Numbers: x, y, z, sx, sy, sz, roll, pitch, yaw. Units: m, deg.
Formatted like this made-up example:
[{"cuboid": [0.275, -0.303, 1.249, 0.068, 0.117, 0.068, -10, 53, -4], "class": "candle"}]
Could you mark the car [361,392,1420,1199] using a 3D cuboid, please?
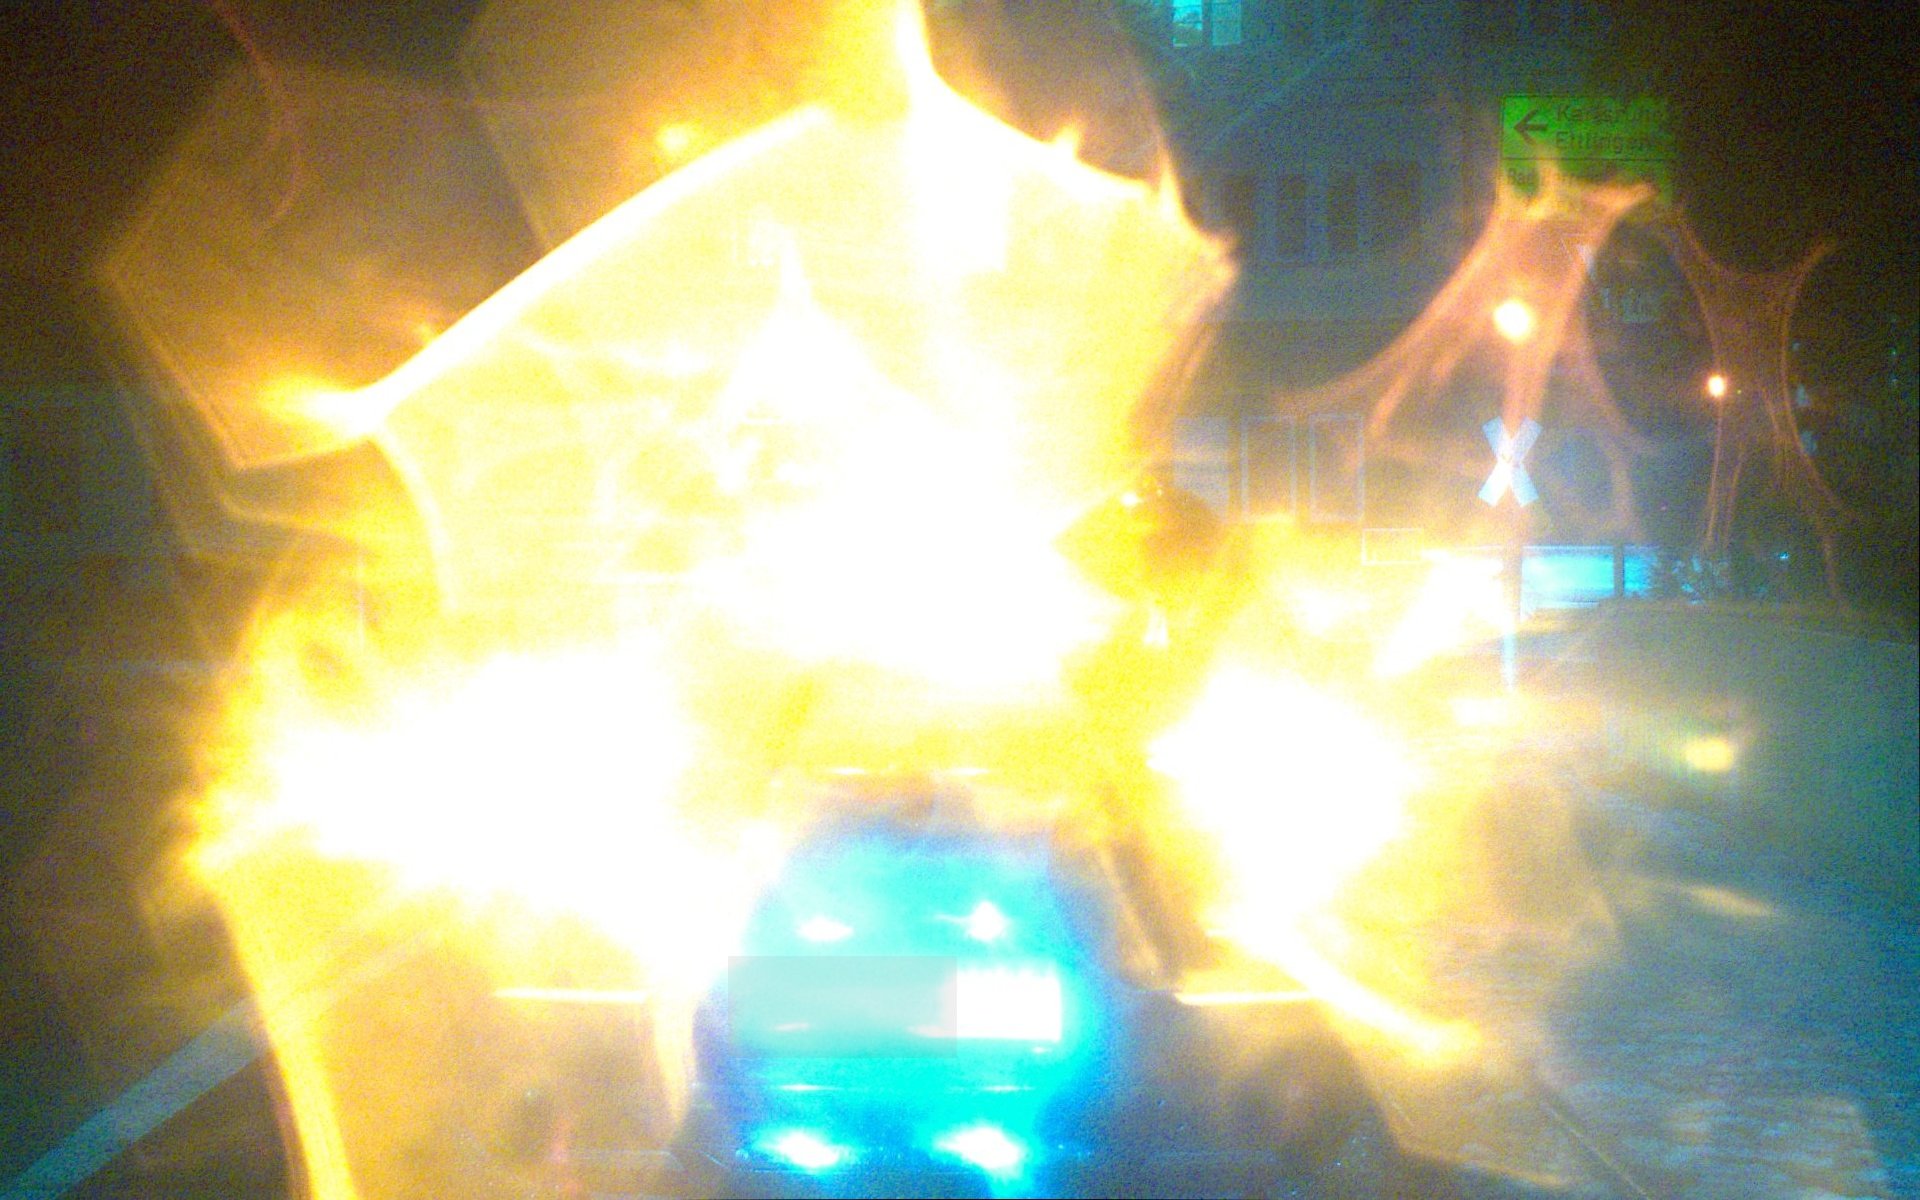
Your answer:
[{"cuboid": [-0.091, 0.421, 7.793, 1.791, 1.675, 3.905, 0, 2, 1], "class": "car"}]

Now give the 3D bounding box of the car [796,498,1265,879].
[{"cuboid": [0.366, 0.278, 14.939, 1.744, 1.410, 4.000, -1, 2, 3], "class": "car"}]

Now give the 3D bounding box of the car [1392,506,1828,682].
[{"cuboid": [7.394, -0.050, 39.077, 4.688, 1.787, 1.999, -2, -1, 13], "class": "car"}]
